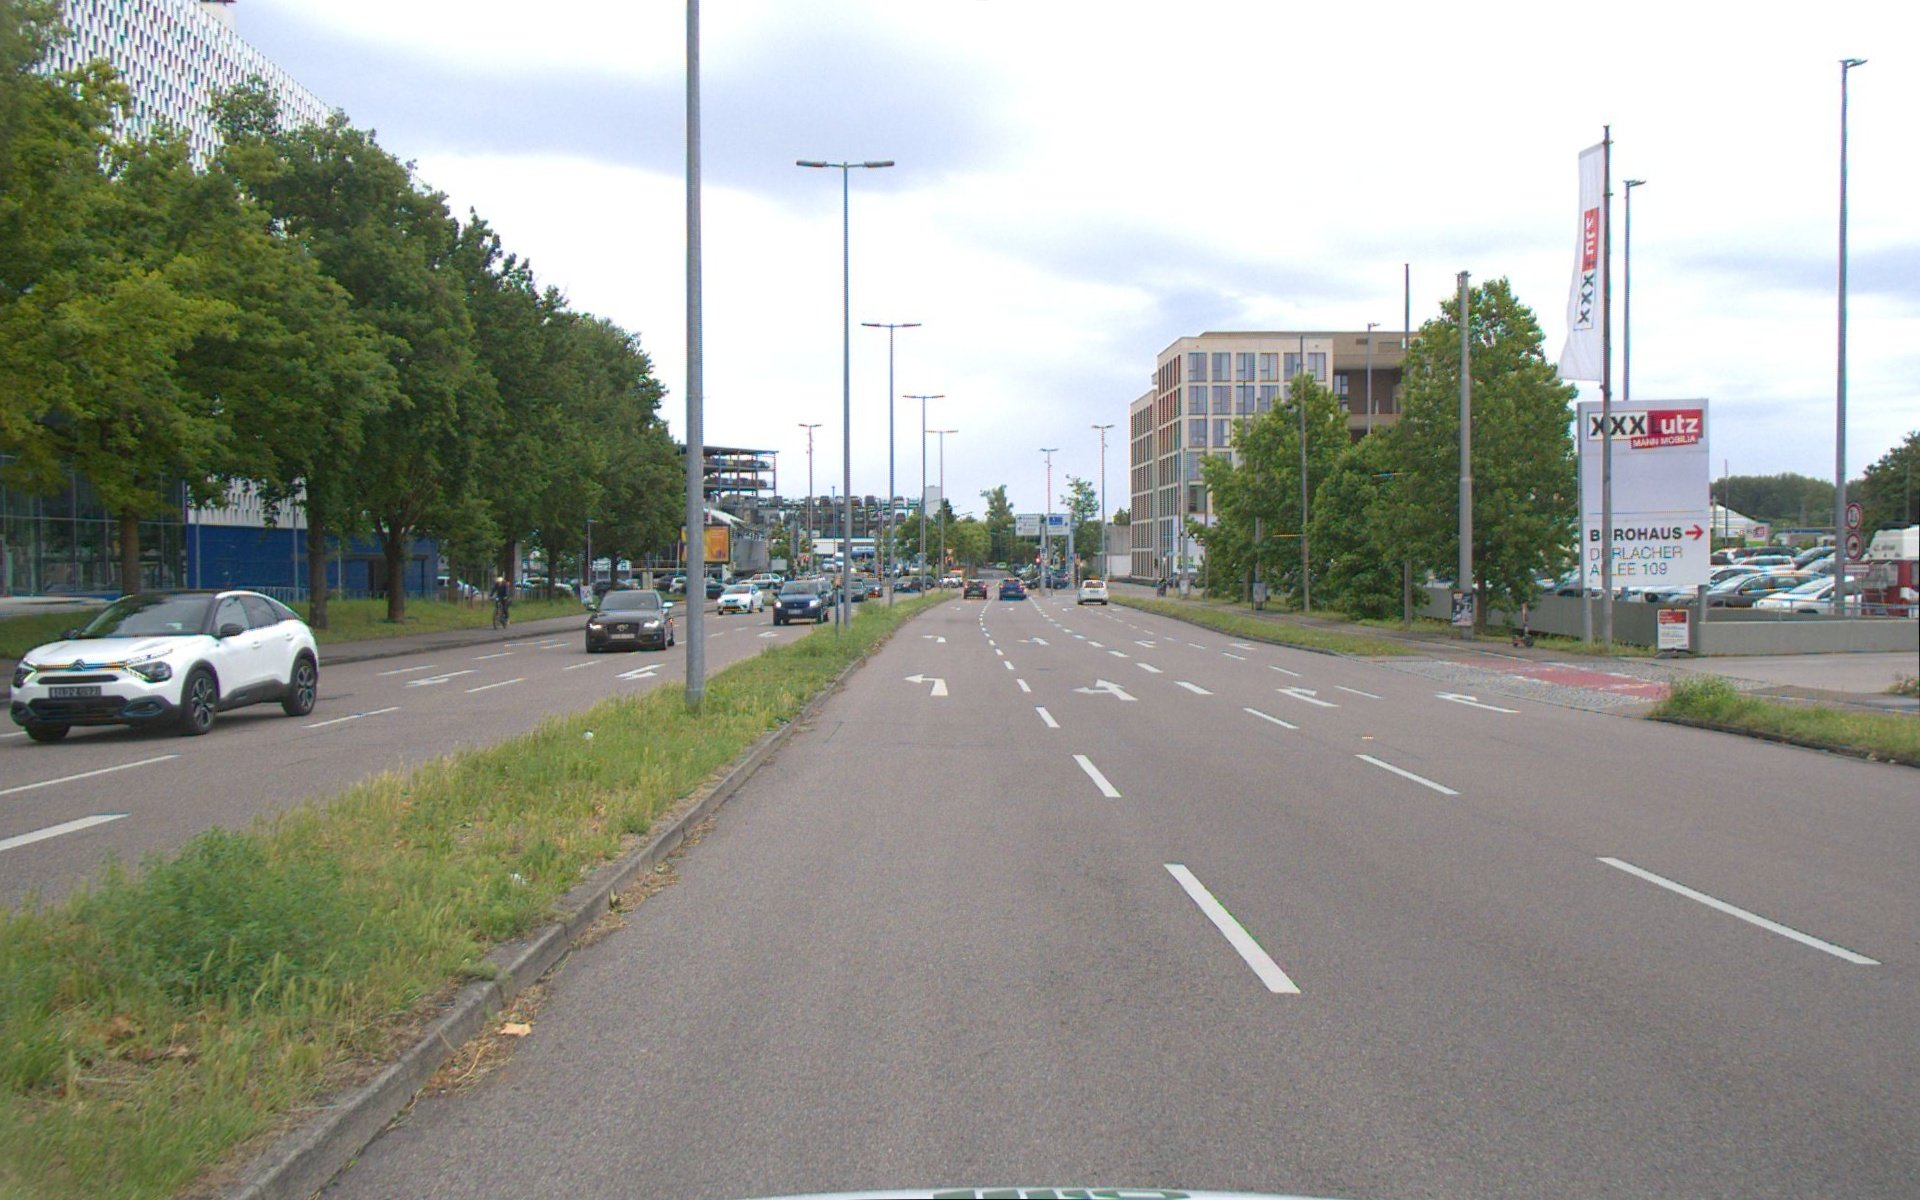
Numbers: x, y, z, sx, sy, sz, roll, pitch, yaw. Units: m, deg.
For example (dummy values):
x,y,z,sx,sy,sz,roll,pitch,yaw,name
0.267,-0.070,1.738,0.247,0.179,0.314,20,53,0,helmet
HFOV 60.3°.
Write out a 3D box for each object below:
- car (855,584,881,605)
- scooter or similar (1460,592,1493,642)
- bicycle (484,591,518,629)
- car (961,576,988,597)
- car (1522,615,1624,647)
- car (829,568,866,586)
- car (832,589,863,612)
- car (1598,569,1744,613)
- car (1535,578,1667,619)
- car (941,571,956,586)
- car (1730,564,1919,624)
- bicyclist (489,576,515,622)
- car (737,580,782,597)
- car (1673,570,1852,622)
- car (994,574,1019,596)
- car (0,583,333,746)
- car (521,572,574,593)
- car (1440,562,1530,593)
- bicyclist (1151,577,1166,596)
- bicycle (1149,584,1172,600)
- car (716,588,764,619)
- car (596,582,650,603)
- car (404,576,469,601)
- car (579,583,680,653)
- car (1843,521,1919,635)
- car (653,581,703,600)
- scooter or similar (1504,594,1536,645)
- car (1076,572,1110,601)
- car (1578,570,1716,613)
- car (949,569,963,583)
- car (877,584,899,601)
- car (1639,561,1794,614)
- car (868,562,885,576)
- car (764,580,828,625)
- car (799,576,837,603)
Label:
x,y,z,sx,sy,sz,roll,pitch,yaw,name
-7.282,-0.451,131.525,1.743,1.481,4.182,-2,1,0,car
15.291,0.479,48.998,0.636,1.446,1.820,-1,0,9,scooter or similar
-16.262,0.335,58.608,0.629,1.272,2.056,1,1,-1,bicycle
1.060,-0.982,122.022,1.947,1.453,4.240,0,0,-1,car
27.863,1.388,75.233,3.972,1.374,1.763,0,1,-2,car
-12.058,-2.506,176.983,3.908,1.821,1.846,0,3,-4,car
-7.796,0.034,114.835,1.735,1.477,4.405,-2,0,1,car
23.096,-0.305,53.836,3.971,1.373,1.835,0,3,-1,car
23.150,-0.077,59.850,4.068,1.373,1.810,0,3,-1,car
-1.211,-2.377,180.696,1.567,1.478,3.326,0,3,1,car
23.129,-0.176,44.095,4.284,1.486,1.962,0,3,1,car
-16.236,-0.058,58.622,0.627,1.605,1.000,1,1,-1,bicyclist
-19.614,-1.138,161.719,4.331,1.689,1.998,0,0,-6,car
23.692,-0.125,48.915,4.373,1.443,1.868,0,3,1,car
3.362,-1.094,120.138,1.797,1.540,4.001,0,2,1,car
-8.813,0.644,18.520,1.891,1.545,4.182,-3,0,0,car
-37.130,-1.551,148.882,4.346,1.740,1.999,0,4,-5,car
23.317,-1.015,73.515,3.445,1.330,1.605,0,3,-5,car
16.015,-1.069,133.390,0.694,1.530,0.988,0,1,-35,bicyclist
16.135,-0.649,133.209,0.694,1.318,1.986,0,1,-35,bicycle
-11.059,0.170,83.360,1.828,1.479,4.168,-2,0,0,car
-29.702,-0.673,145.803,4.455,1.688,1.998,-1,1,-6,car
-45.888,-1.000,144.956,5.030,1.997,1.880,-1,4,-4,car
-7.794,0.380,39.337,1.847,1.461,4.427,-3,1,-6,car
23.870,-0.554,39.247,4.625,2.623,2.171,0,3,1,car
-25.795,-0.886,151.389,4.331,1.689,1.998,0,0,-6,car
13.797,0.480,40.742,0.362,1.211,1.248,-1,1,0,scooter or similar
8.284,-0.834,103.230,1.952,1.782,4.181,0,1,2,car
23.484,-0.298,56.632,3.971,1.373,1.764,0,3,-1,car
-0.476,-2.780,188.826,1.567,1.478,3.326,0,3,1,car
-6.547,-0.698,150.265,1.893,1.481,4.179,0,1,-4,car
23.372,-0.386,51.208,3.970,1.567,1.765,0,3,1,car
-11.127,-4.091,221.002,1.738,1.735,3.920,0,3,6,car
-5.876,0.078,59.805,1.892,1.512,4.439,-2,1,-1,car
-8.374,-0.645,97.751,1.721,1.478,4.001,-2,0,1,car
